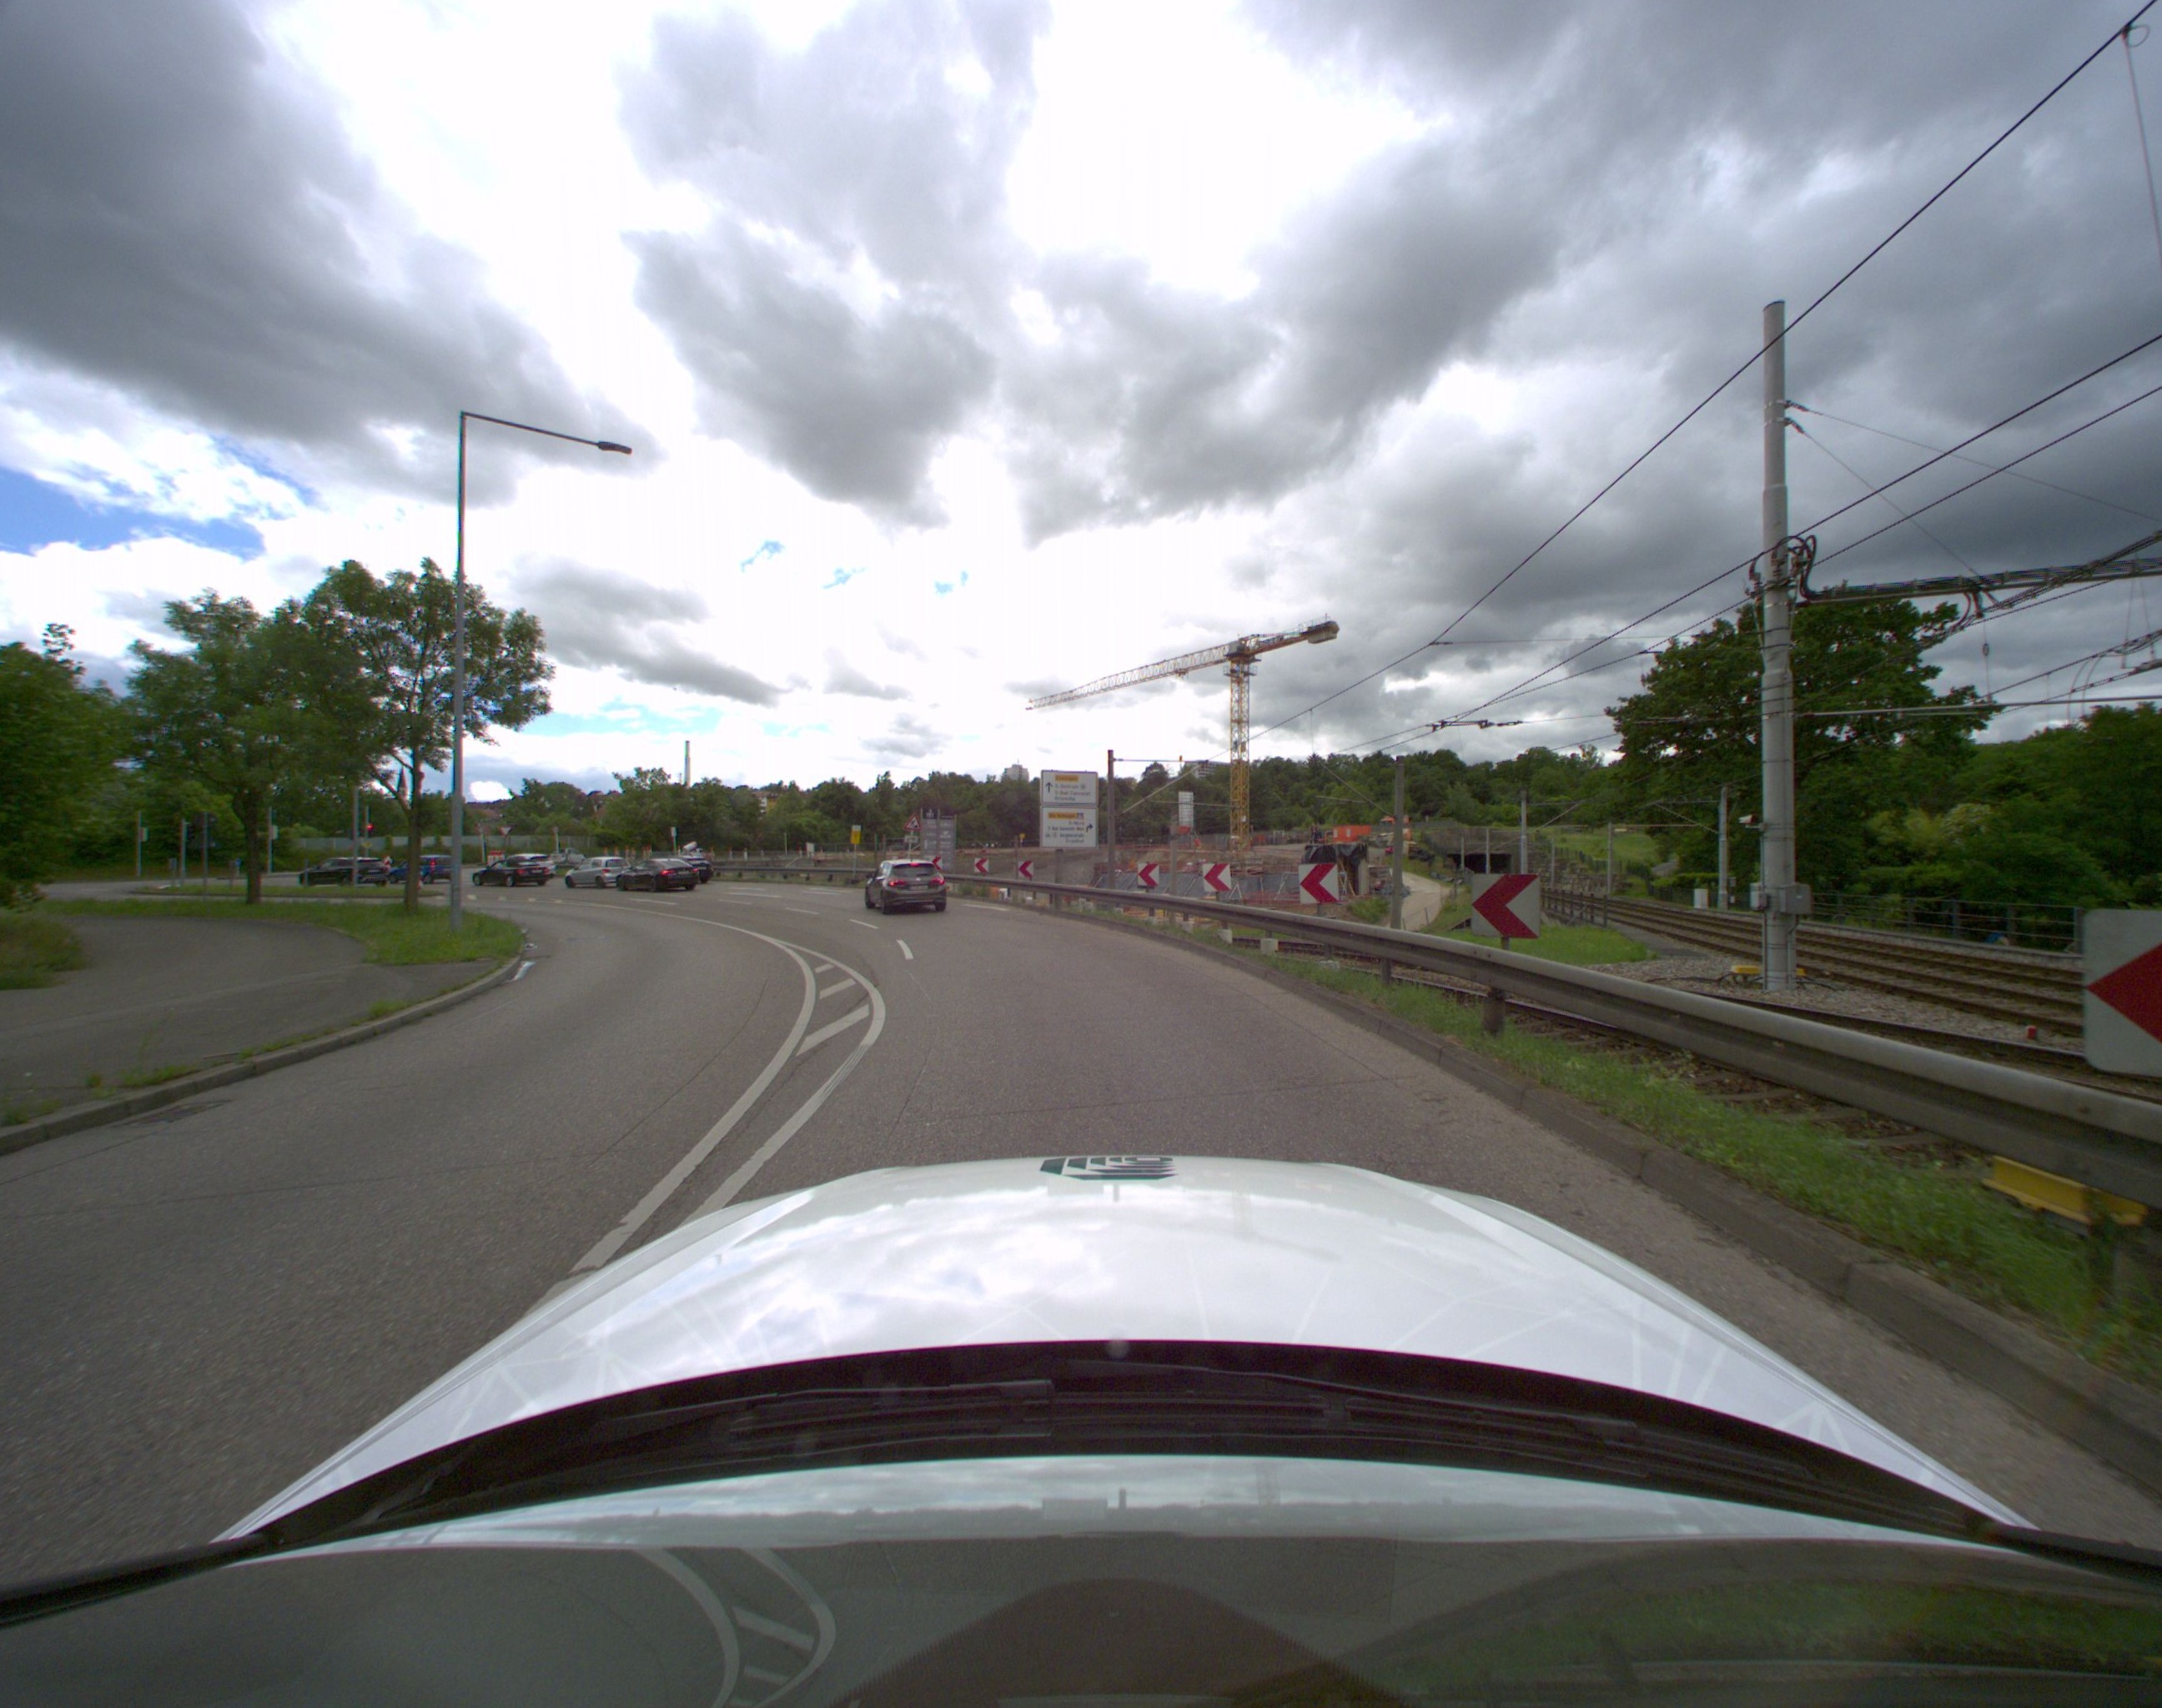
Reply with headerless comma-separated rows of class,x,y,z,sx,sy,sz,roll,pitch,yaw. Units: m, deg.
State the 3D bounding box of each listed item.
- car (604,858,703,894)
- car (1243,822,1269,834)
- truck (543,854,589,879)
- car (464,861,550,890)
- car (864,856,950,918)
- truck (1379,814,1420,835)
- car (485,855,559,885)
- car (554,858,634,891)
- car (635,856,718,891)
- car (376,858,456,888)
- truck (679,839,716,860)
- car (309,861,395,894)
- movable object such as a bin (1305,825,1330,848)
car,-19.601,0.957,37.311,4.900,1.476,1.891,0,2,34
car,29.946,-4.396,139.330,4.010,2.014,1.982,-1,-1,-28
truck,-44.385,1.091,70.265,1.727,2.014,3.230,1,-2,4
car,-29.711,1.114,42.158,4.035,1.367,1.577,-1,3,21
car,-5.262,0.906,24.269,1.805,1.552,3.971,-2,1,-22
truck,67.072,-6.183,171.485,9.832,4.220,3.088,-1,1,-34
car,-33.159,0.955,48.307,3.952,1.675,1.726,-1,-1,22
car,-24.110,1.006,40.319,3.583,1.469,1.684,0,3,26
car,-21.266,0.982,42.787,4.150,1.636,1.891,0,2,32
car,-36.475,1.037,44.712,3.347,1.507,1.553,-1,1,11
truck,-40.263,-0.413,85.515,1.988,2.014,3.997,1,-2,-2
car,-37.393,1.192,41.759,3.726,1.507,1.670,0,3,21
movable object such as a bin,33.839,-2.490,116.489,1.847,3.077,2.773,-1,-1,-31
